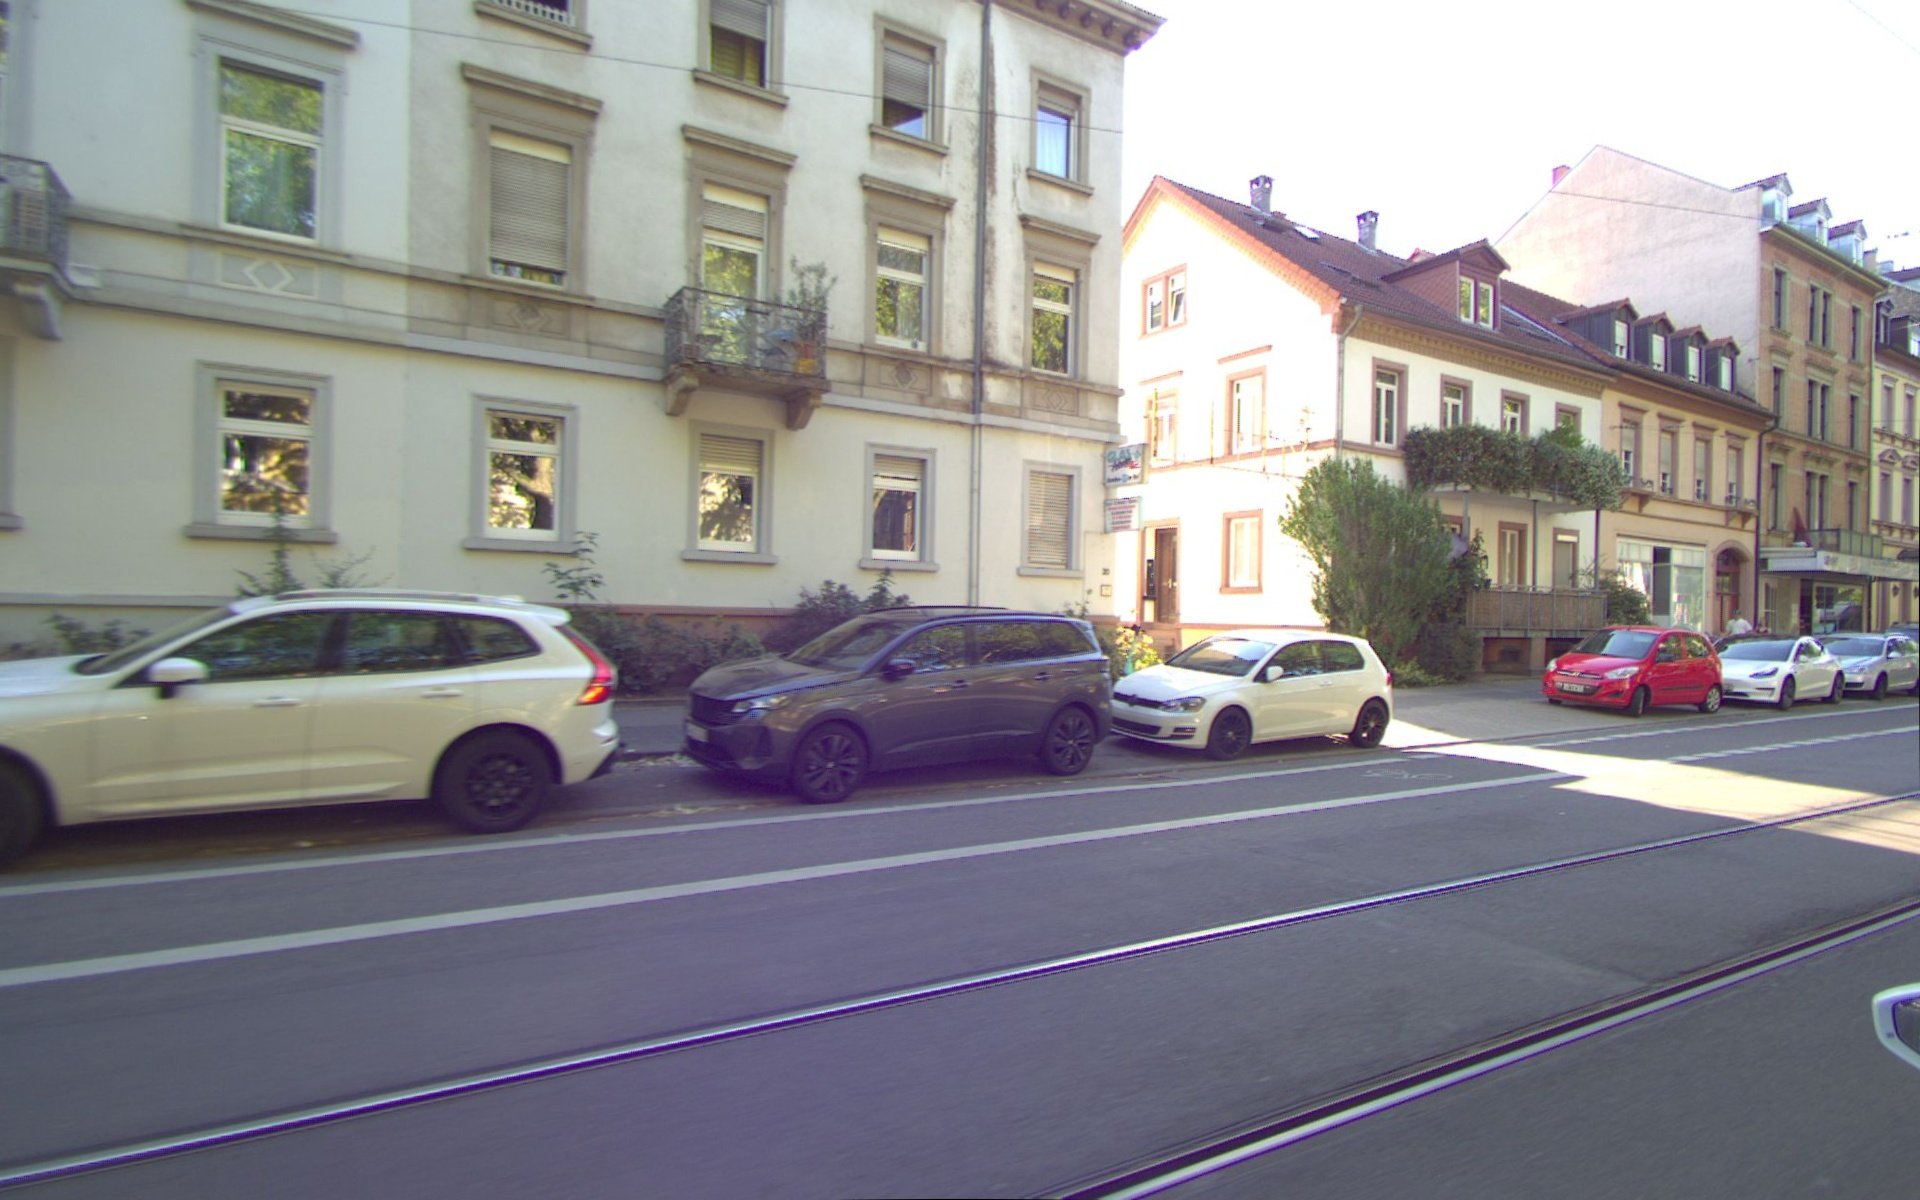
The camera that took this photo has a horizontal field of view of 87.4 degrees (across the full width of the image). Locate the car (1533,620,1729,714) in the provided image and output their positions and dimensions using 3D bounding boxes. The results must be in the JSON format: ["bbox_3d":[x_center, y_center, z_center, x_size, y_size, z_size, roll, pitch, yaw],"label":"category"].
[{"bbox_3d":[12.374,1.182,18.516,3.404,1.583,1.563,1,-1,-27],"label":"car"}]

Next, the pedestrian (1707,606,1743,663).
[{"bbox_3d":[22.921,1.018,30.097,0.763,1.656,0.653,2,1,44],"label":"pedestrian"}]

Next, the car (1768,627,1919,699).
[{"bbox_3d":[21.355,1.449,24.030,4.400,1.523,1.817,1,1,-32],"label":"car"}]

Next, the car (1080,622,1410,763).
[{"bbox_3d":[3.749,1.087,12.985,4.209,1.496,1.678,1,1,-32],"label":"car"}]

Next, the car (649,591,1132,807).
[{"bbox_3d":[-0.552,0.846,10.163,4.615,1.726,1.844,1,-1,-37],"label":"car"}]

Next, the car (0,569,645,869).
[{"bbox_3d":[-4.881,0.716,7.224,4.707,1.726,1.848,1,-1,-31],"label":"car"}]

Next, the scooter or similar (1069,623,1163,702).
[{"bbox_3d":[2.646,1.049,17.015,1.552,1.297,0.445,1,0,-23],"label":"scooter or similar"}]

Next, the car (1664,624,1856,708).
[{"bbox_3d":[16.966,1.328,21.236,4.639,1.523,1.816,1,1,-34],"label":"car"}]

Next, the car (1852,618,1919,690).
[{"bbox_3d":[25.377,1.408,26.672,3.645,1.755,1.547,1,1,-32],"label":"car"}]

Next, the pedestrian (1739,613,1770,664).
[{"bbox_3d":[23.424,1.127,29.611,0.628,1.480,0.653,2,1,43],"label":"pedestrian"}]
